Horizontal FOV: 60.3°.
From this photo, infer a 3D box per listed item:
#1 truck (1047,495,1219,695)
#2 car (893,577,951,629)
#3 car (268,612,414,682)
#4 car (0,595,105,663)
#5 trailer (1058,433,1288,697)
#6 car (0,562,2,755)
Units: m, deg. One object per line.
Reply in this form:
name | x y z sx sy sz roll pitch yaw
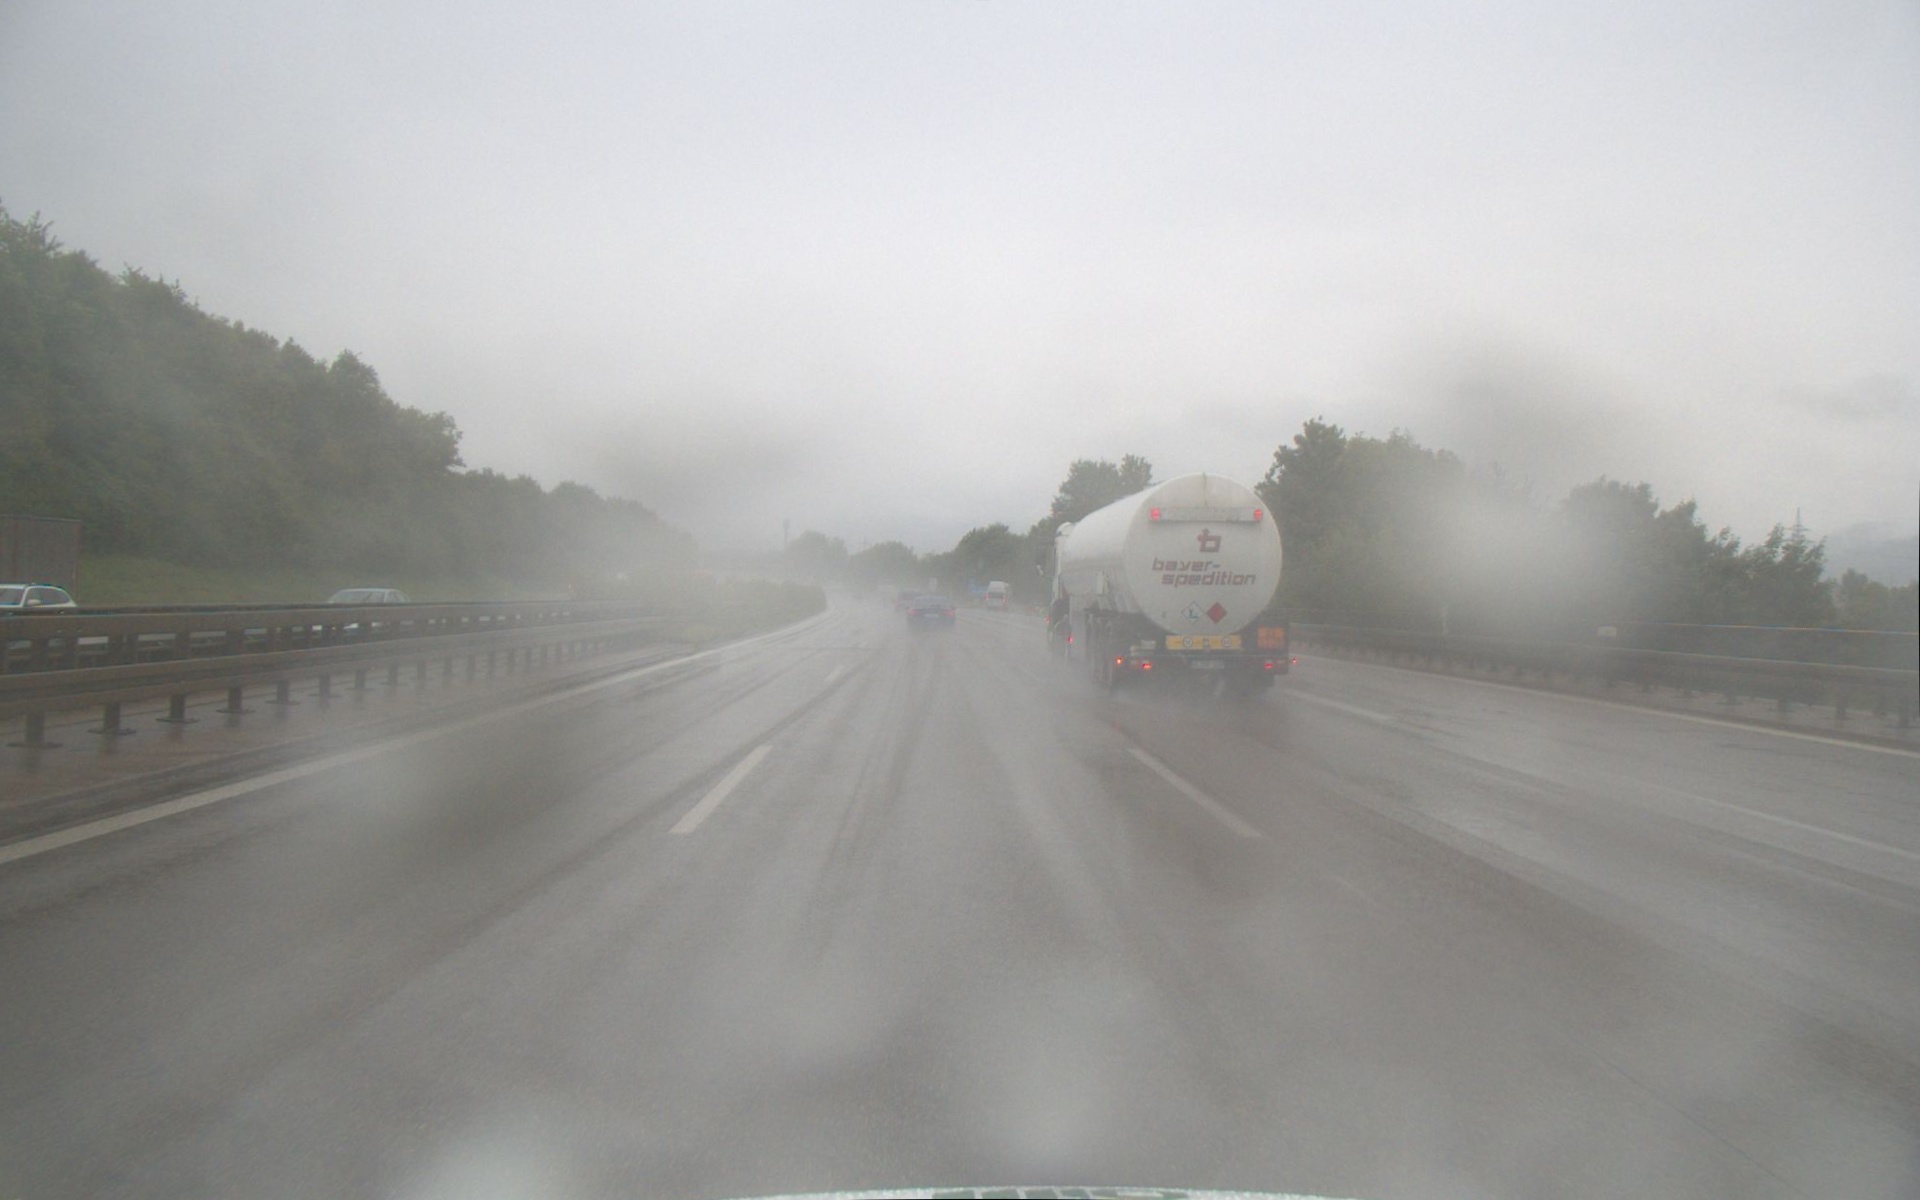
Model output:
truck | 3.405 -0.109 34.173 2.883 3.749 6.361 0 0 0
car | -1.442 0.073 60.865 1.939 1.787 4.478 0 1 -3
car | -14.587 1.073 39.277 1.945 1.497 4.722 0 0 -4
car | -22.104 0.638 38.812 1.946 1.497 4.721 0 0 -5
trailer | 3.421 -0.541 28.920 2.943 3.915 8.623 0 0 0
car | -3.241 0.678 1.301 2.012 1.511 5.157 1 1 -1
